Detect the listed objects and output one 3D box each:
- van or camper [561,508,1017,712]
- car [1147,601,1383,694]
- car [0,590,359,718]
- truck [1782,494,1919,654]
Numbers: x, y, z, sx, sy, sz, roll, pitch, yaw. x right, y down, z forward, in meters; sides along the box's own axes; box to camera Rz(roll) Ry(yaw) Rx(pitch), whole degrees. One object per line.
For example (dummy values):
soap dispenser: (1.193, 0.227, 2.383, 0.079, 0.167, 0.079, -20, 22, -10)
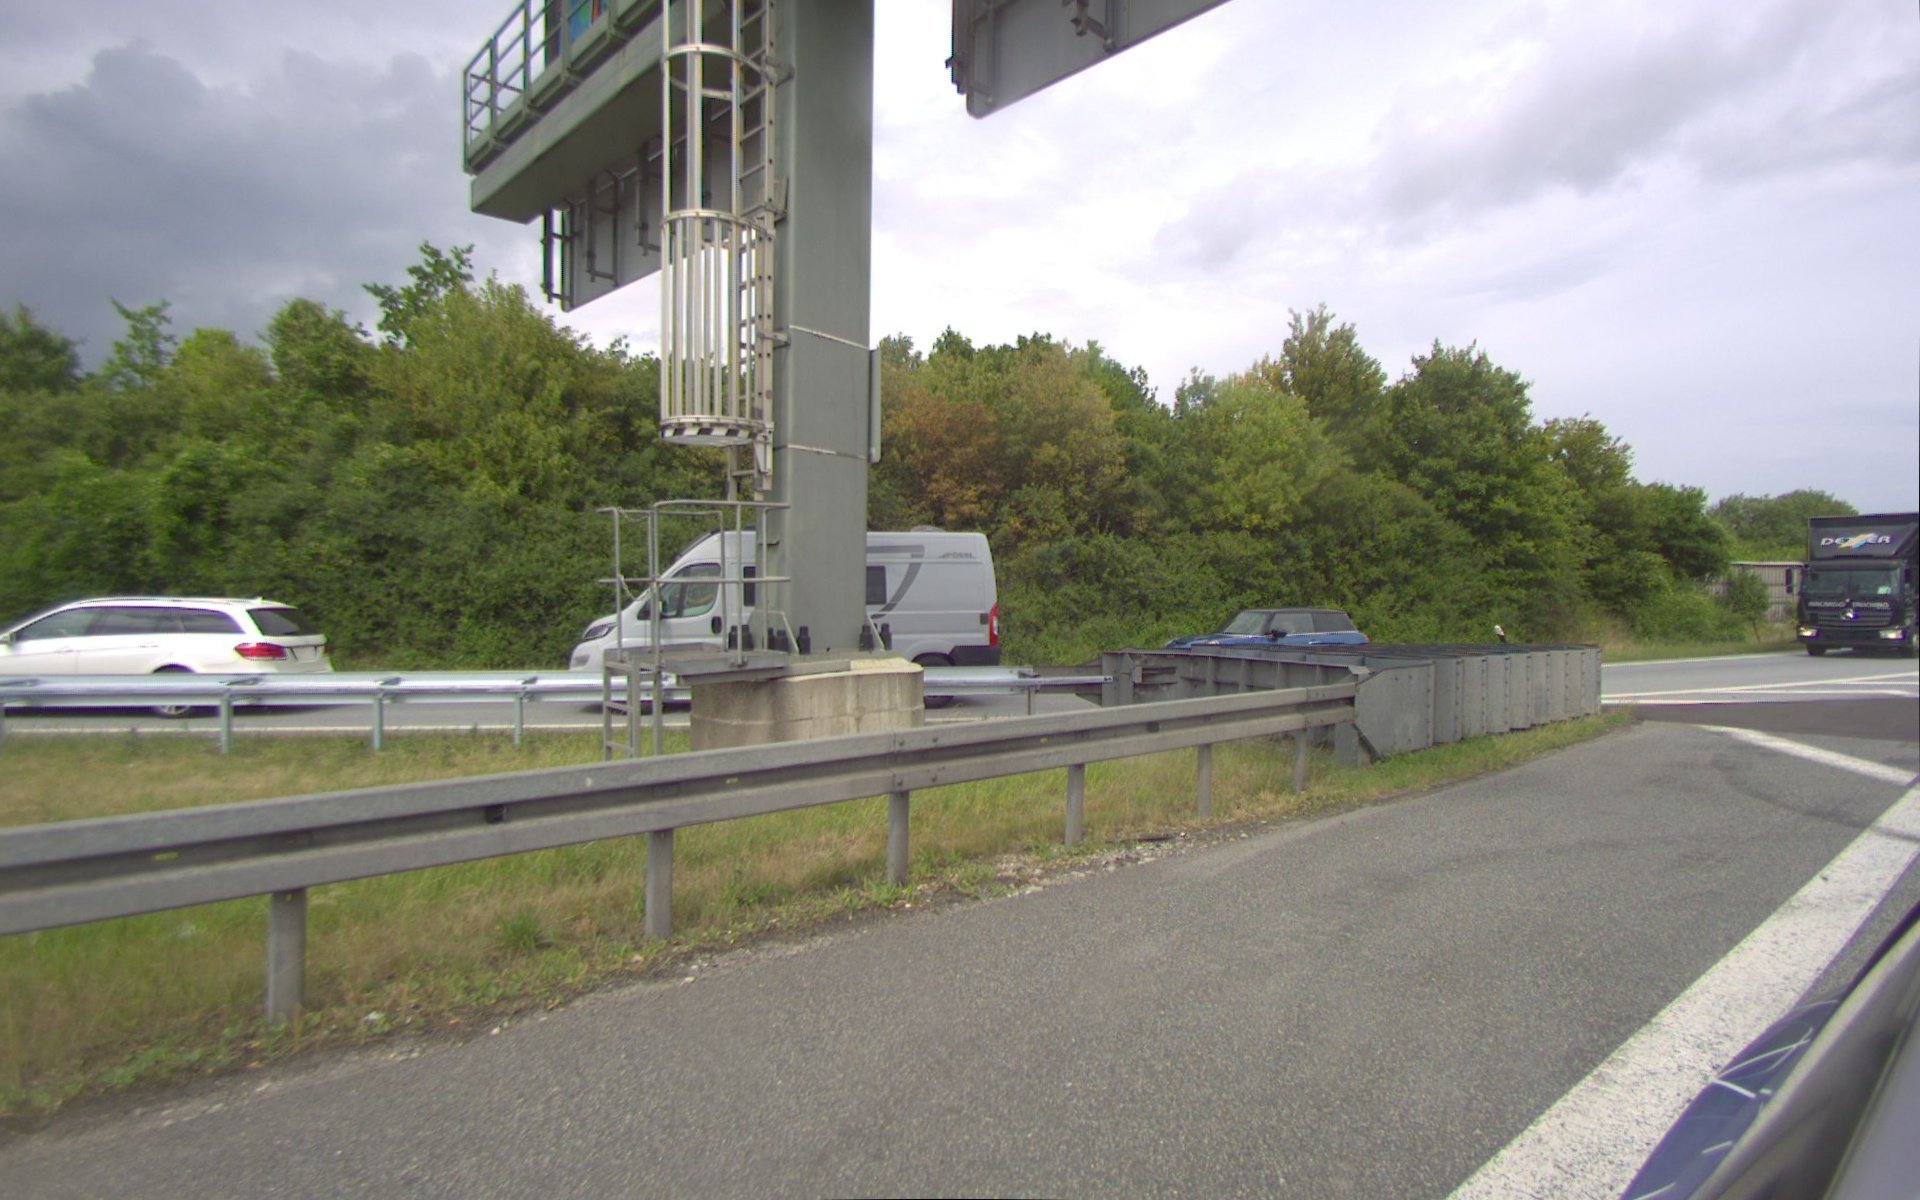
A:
van or camper: (-2.402, 0.120, 14.701, 6.031, 2.600, 2.306, 0, 0, -13)
car: (5.255, 0.756, 17.504, 3.589, 1.437, 1.738, -1, 0, -21)
car: (-10.964, 0.646, 13.409, 4.691, 1.520, 2.216, 0, 1, -5)
truck: (27.449, -0.675, 29.411, 10.146, 4.004, 3.026, 0, 0, -36)
